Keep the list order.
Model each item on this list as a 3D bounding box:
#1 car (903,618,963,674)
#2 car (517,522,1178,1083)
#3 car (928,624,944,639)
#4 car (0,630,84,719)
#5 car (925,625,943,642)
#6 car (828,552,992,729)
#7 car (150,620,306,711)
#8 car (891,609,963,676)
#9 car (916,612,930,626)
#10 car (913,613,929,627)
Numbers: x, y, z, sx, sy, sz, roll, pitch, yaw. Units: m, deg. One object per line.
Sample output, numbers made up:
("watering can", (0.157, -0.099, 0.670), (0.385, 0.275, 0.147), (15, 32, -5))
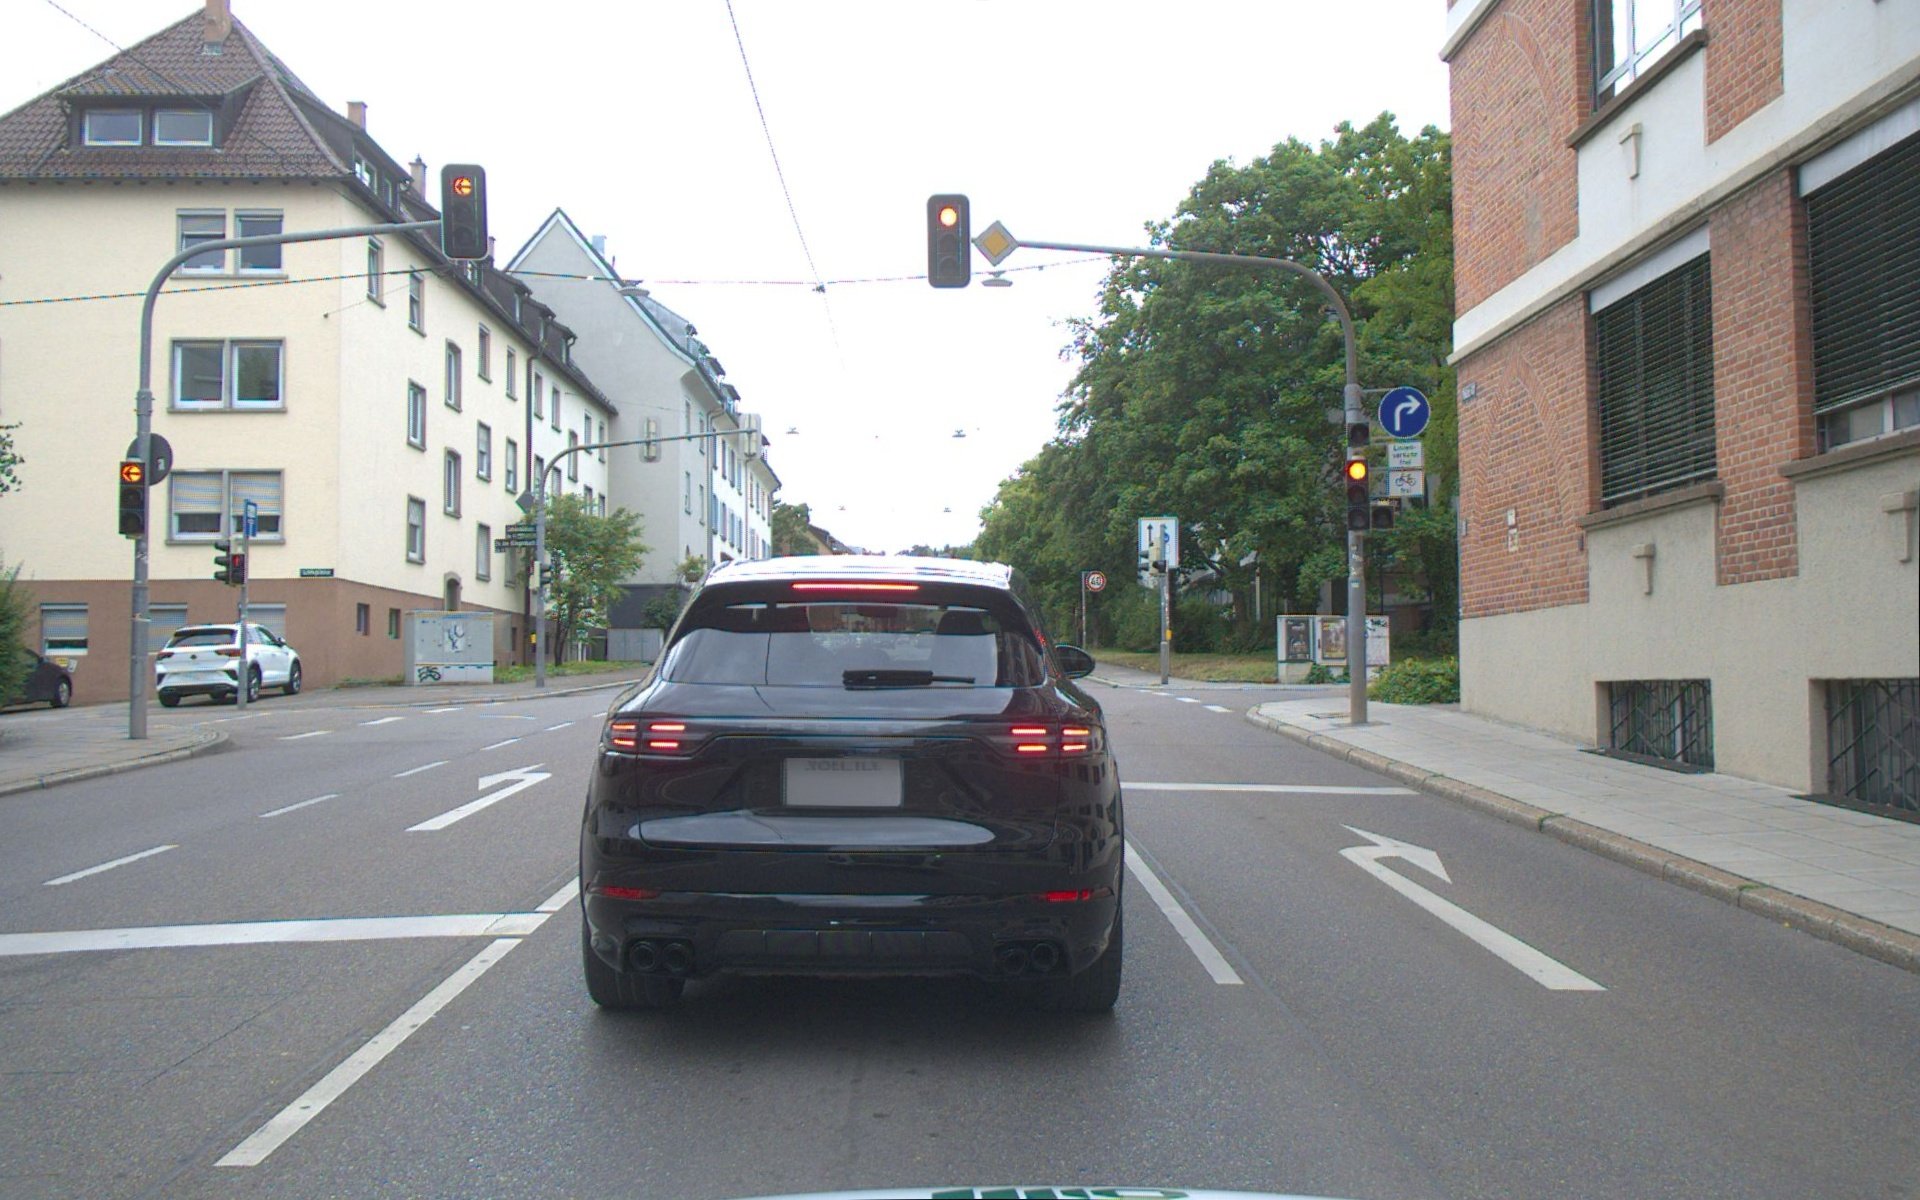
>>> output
("car", (-0.850, 1.435, 52.508), (1.790, 1.633, 3.858), (1, 0, -1))
("car", (-0.363, 0.621, 7.238), (2.007, 1.695, 4.266), (1, 0, -1))
("car", (-2.631, 3.465, 182.394), (1.790, 1.633, 4.134), (1, 0, -1))
("car", (-19.630, 1.519, 33.757), (1.658, 1.636, 3.762), (-3, 0, -5))
("car", (-2.555, 3.297, 163.222), (1.790, 1.633, 4.134), (1, 0, -1))
("car", (-0.617, 0.478, 21.884), (1.925, 2.078, 4.134), (1, 0, -1))
("car", (-14.724, 1.274, 33.473), (1.658, 1.582, 3.762), (-3, 0, -5))
("car", (-0.842, 1.079, 43.796), (1.790, 1.633, 4.134), (1, 0, -1))
("car", (-4.683, 2.442, 210.164), (1.790, 1.633, 4.134), (1, 0, -1))
("car", (-4.754, 2.491, 202.837), (1.790, 1.633, 4.134), (1, 0, -1))
